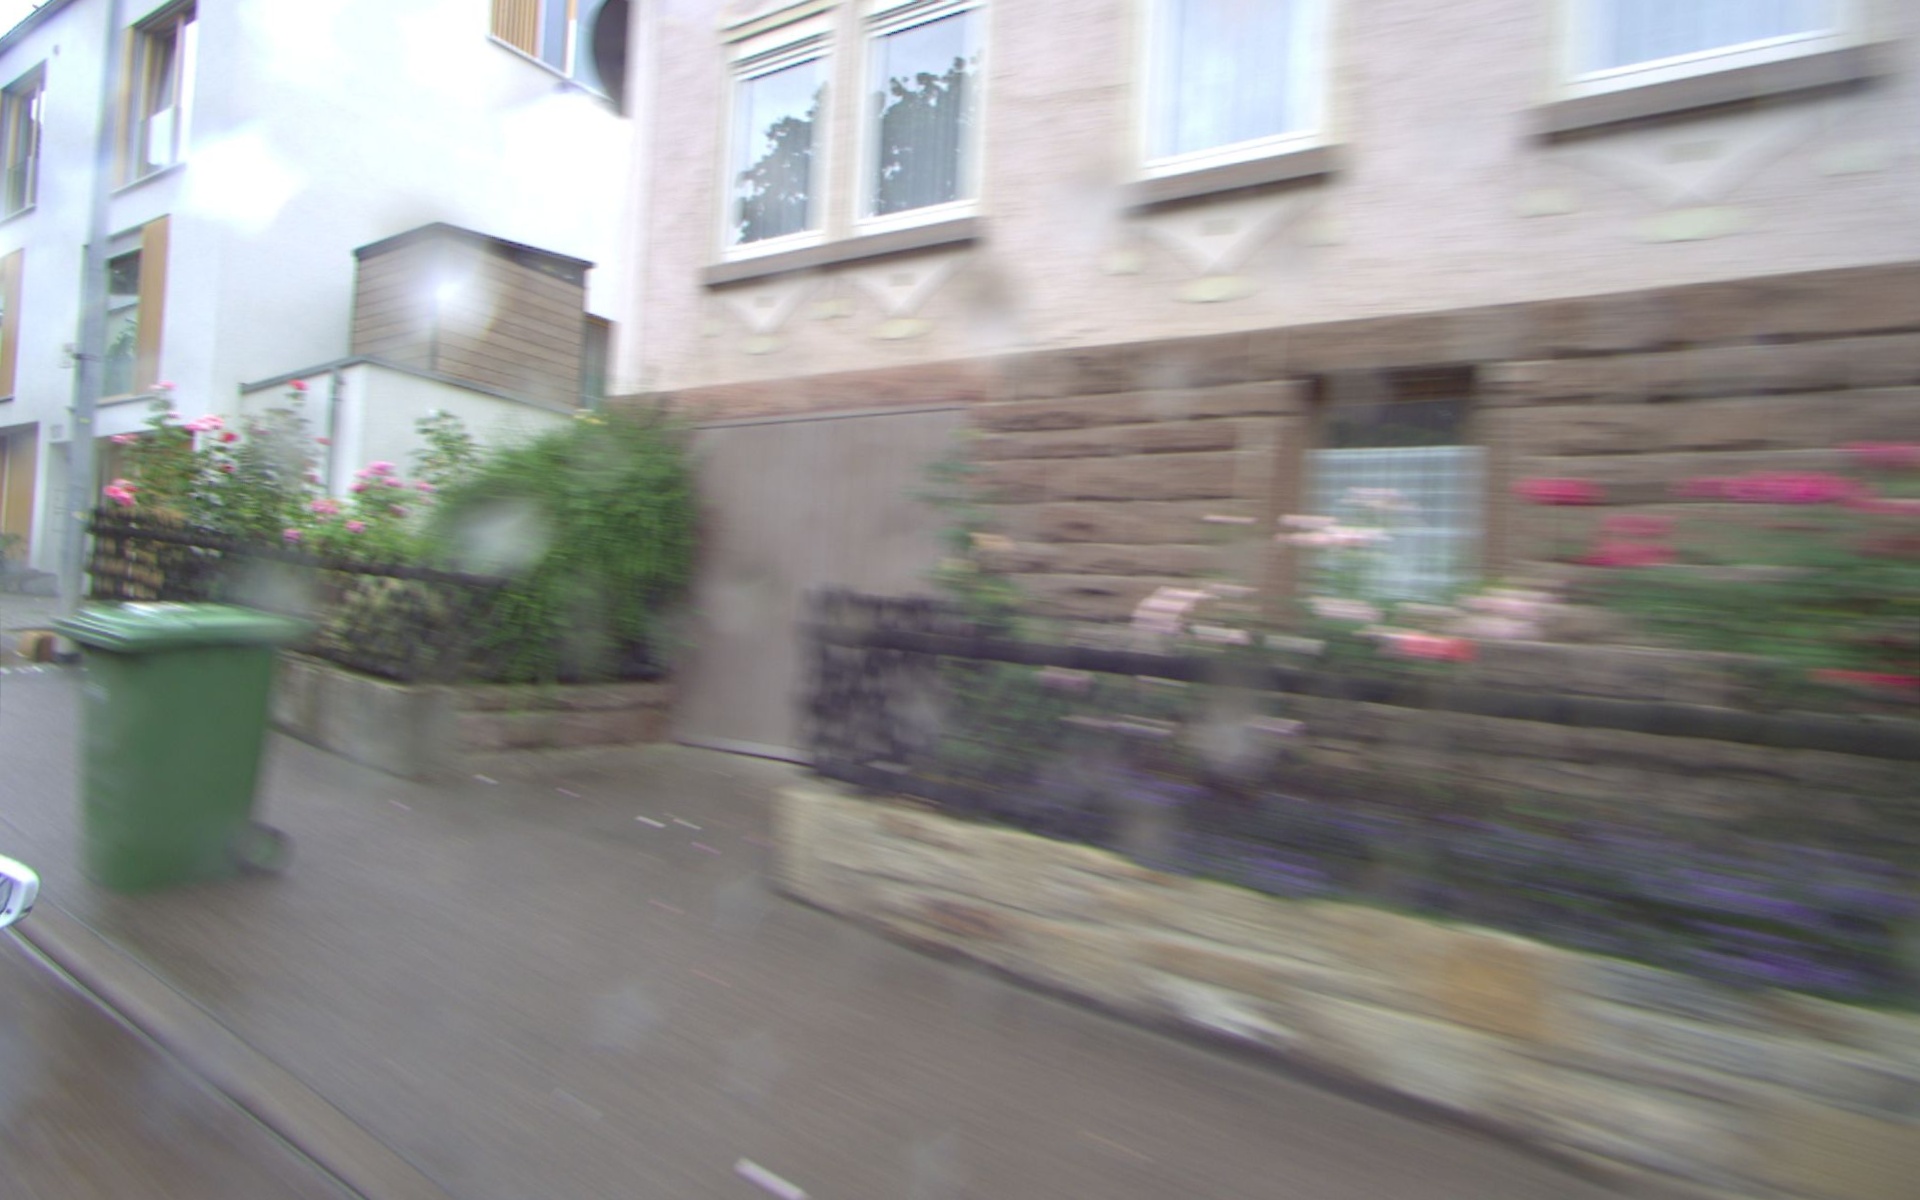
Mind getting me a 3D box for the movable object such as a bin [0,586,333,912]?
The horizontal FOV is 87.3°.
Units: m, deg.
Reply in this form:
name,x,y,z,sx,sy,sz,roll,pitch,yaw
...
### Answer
name,x,y,z,sx,sy,sz,roll,pitch,yaw
movable object such as a bin,-3.203,0.555,4.067,0.748,1.083,0.797,7,0,33
